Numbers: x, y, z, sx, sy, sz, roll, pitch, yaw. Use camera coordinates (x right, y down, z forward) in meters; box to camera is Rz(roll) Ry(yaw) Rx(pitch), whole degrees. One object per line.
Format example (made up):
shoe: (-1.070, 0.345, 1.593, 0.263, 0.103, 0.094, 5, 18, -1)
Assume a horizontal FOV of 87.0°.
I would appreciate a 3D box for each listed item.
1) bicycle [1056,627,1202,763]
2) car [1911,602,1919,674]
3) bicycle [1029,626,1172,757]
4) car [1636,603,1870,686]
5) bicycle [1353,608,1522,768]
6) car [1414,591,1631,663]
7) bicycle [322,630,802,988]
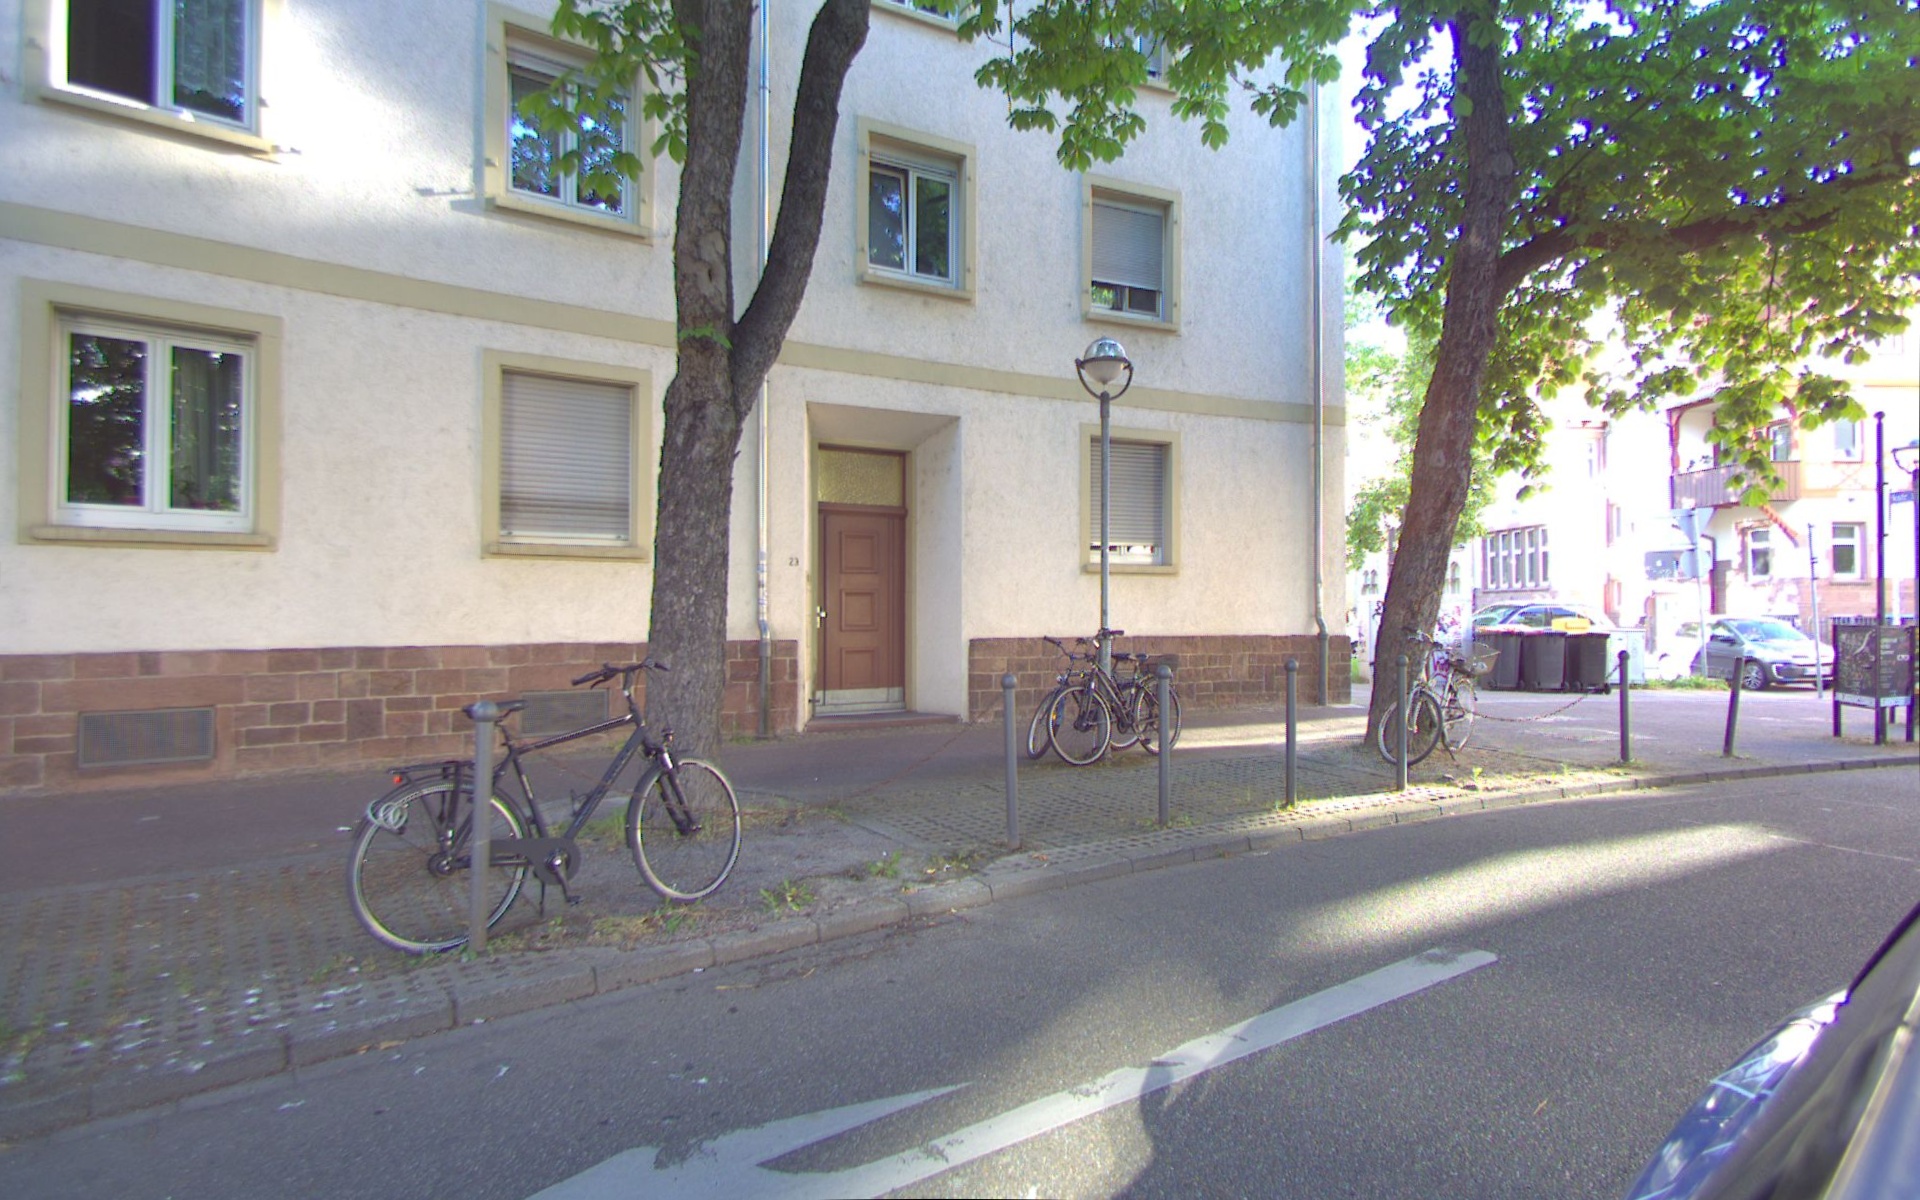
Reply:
bicycle: (1.547, 0.810, 9.103, 1.607, 1.108, 0.334, 0, -2, -41)
car: (21.653, 0.842, 20.601, 1.463, 1.559, 3.217, 1, 0, -3)
bicycle: (1.334, 0.808, 9.435, 1.607, 1.108, 0.334, 0, -2, -41)
car: (16.761, 0.893, 21.677, 1.663, 1.572, 4.053, -1, -1, -2)
bicycle: (4.413, 0.733, 9.295, 1.871, 1.321, 0.766, 1, -1, -43)
car: (12.000, 0.559, 21.716, 3.728, 1.443, 1.677, 0, -1, -5)
bicycle: (-1.698, 0.777, 4.555, 1.882, 1.238, 0.718, 1, -1, -43)
